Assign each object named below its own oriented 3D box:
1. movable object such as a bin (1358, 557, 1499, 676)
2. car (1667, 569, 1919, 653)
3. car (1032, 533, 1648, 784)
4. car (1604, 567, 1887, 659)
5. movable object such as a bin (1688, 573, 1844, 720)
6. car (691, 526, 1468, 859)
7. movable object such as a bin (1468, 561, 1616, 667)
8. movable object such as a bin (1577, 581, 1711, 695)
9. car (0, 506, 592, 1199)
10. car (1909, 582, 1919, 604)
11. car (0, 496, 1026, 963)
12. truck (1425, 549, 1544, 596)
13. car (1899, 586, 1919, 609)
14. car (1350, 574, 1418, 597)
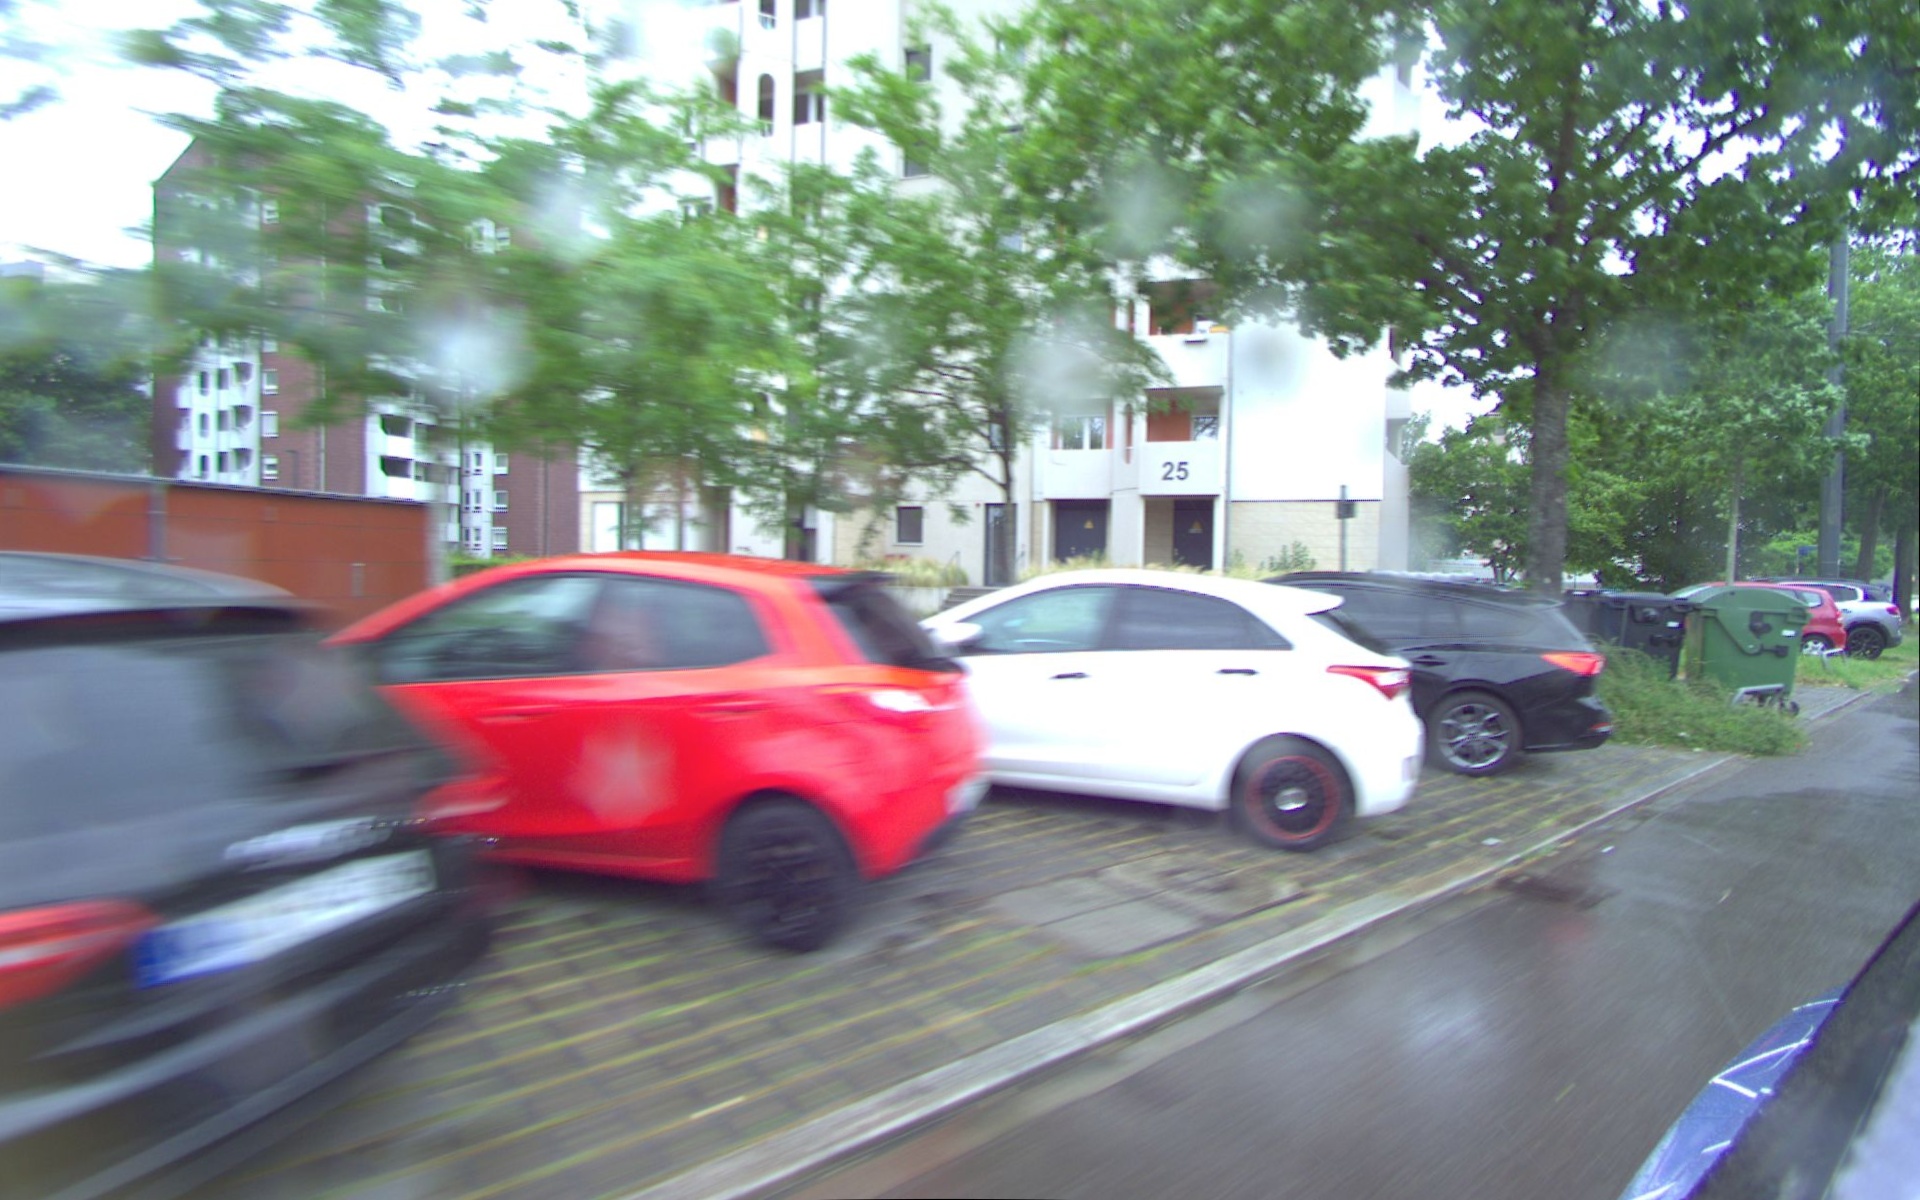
[{"bbox_3d":[5.941,0.189,12.940,1.344,1.440,1.184,0,1,8],"label":"movable object such as a bin"},{"bbox_3d":[18.042,0.187,22.002,3.988,1.706,1.717,1,2,15],"label":"car"},{"bbox_3d":[2.986,0.329,8.682,4.404,1.560,1.675,4,4,19],"label":"car"},{"bbox_3d":[15.490,0.202,20.209,3.989,1.506,1.717,4,2,15],"label":"car"},{"bbox_3d":[9.384,0.487,11.866,1.152,1.581,1.362,0,1,27],"label":"movable object such as a bin"},{"bbox_3d":[0.671,0.403,6.666,4.400,1.483,1.811,4,3,16],"label":"car"},{"bbox_3d":[7.271,0.150,12.722,1.220,1.267,1.185,0,1,6],"label":"movable object such as a bin"},{"bbox_3d":[8.407,0.435,12.510,0.982,1.329,1.183,0,1,12],"label":"movable object such as a bin"},{"bbox_3d":[-3.365,0.441,2.611,4.401,1.445,1.676,4,3,17],"label":"car"},{"bbox_3d":[60.468,-0.403,60.904,4.426,1.344,1.986,0,2,22],"label":"car"},{"bbox_3d":[-2.016,0.375,4.909,4.393,1.445,1.804,4,3,12],"label":"car"},{"bbox_3d":[28.713,-1.483,55.470,5.633,2.468,2.100,1,2,33],"label":"truck"},{"bbox_3d":[58.002,-0.148,58.888,4.423,1.344,1.987,0,2,20],"label":"car"},{"bbox_3d":[24.296,-0.855,58.047,3.394,1.298,1.583,1,2,32],"label":"car"}]
